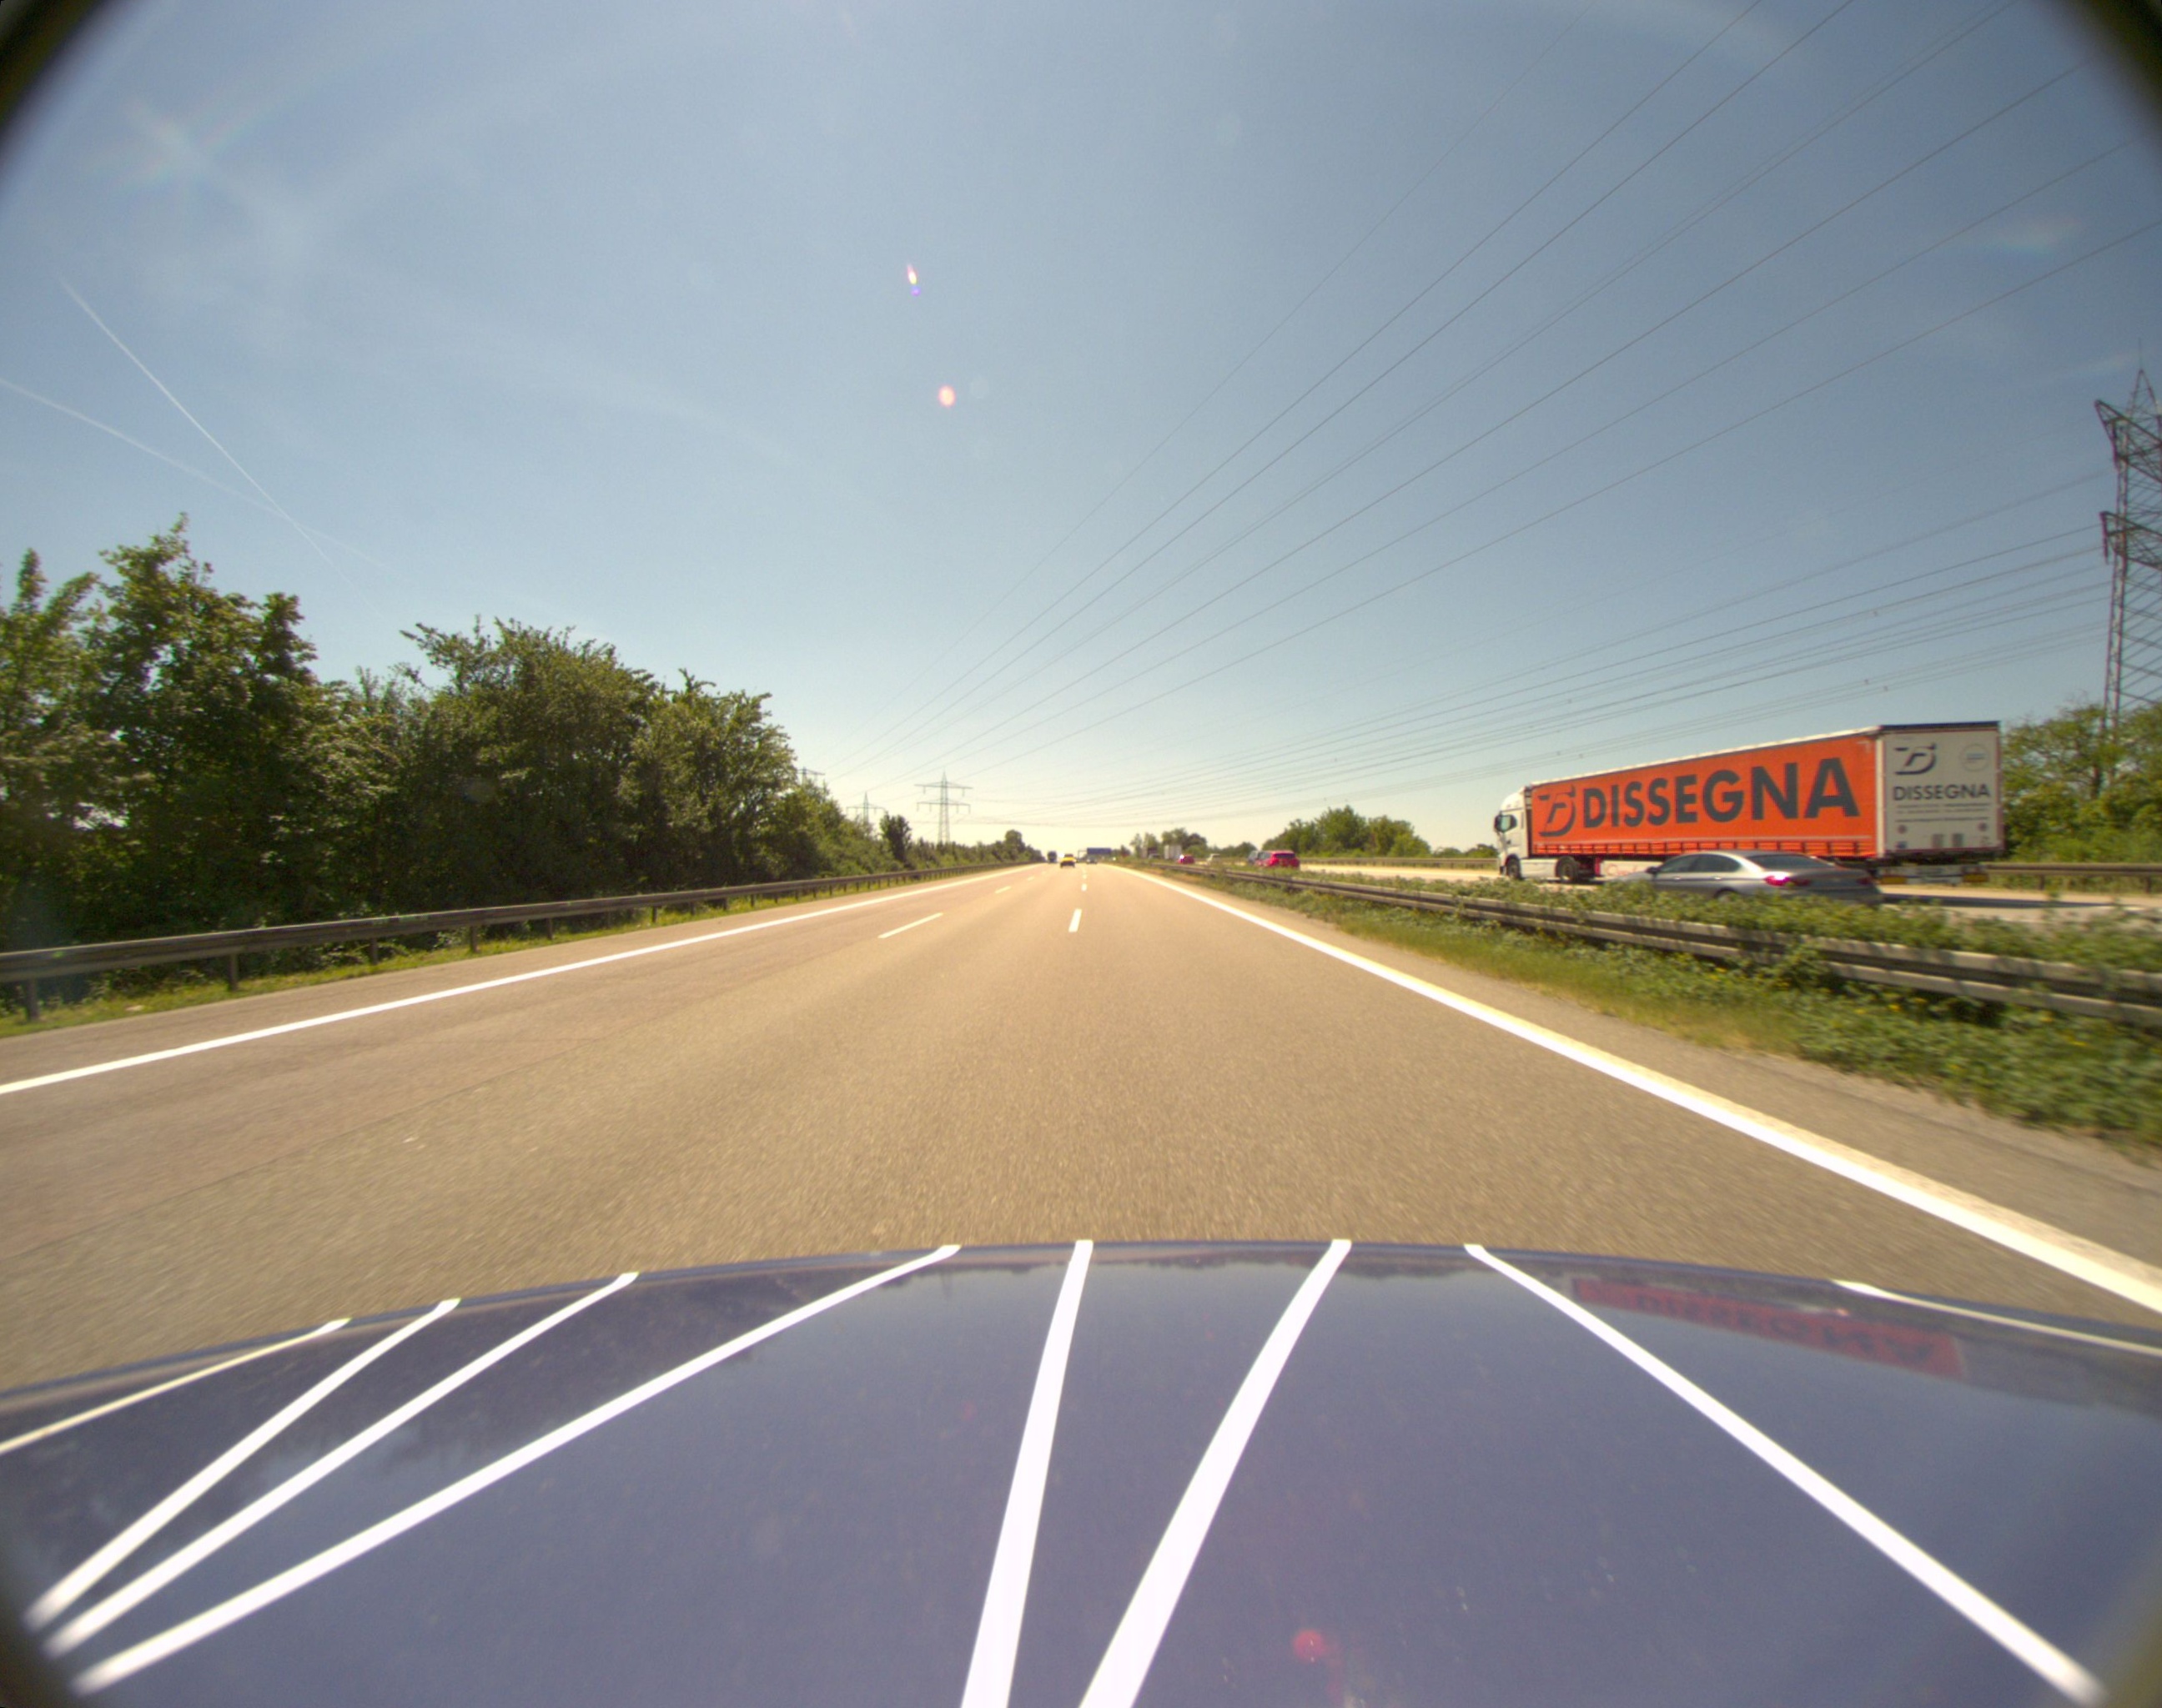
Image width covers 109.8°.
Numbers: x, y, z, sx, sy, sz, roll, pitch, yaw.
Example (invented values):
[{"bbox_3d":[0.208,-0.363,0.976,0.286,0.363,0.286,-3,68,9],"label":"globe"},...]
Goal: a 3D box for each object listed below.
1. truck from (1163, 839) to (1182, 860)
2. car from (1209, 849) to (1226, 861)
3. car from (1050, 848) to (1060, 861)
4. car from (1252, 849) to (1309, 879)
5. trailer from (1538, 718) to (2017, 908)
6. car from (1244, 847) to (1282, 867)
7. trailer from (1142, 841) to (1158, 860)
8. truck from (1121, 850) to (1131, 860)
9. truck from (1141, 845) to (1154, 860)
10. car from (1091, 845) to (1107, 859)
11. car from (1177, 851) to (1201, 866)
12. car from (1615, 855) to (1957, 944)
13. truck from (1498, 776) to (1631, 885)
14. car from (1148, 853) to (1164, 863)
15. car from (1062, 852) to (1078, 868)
[{"bbox_3d":[18.101,-0.837,151.284,2.460,3.952,9.671,1,-1,-1],"label":"truck"},{"bbox_3d":[19.617,0.136,109.095,1.670,1.523,4.279,-1,0,0],"label":"car"},{"bbox_3d":[-7.765,0.207,227.651,2.687,3.723,6.270,0,-1,-2],"label":"car"},{"bbox_3d":[11.216,0.541,43.062,1.999,1.540,4.447,-1,0,0],"label":"car"},{"bbox_3d":[19.077,-0.942,23.145,2.512,4.019,13.586,-2,1,2],"label":"trailer"},{"bbox_3d":[15.489,0.244,64.869,1.999,1.663,4.929,-1,0,0],"label":"car"},{"bbox_3d":[18.200,-0.816,200.567,2.655,4.524,13.865,-2,-1,-1],"label":"trailer"},{"bbox_3d":[15.680,0.383,266.471,2.777,3.505,8.533,-2,-1,-1],"label":"truck"},{"bbox_3d":[18.133,-0.406,207.595,2.655,3.959,5.992,-2,-1,-1],"label":"truck"},{"bbox_3d":[3.308,-0.314,142.587,2.687,2.509,5.967,0,-1,-2],"label":"car"},{"bbox_3d":[11.525,0.455,81.414,1.908,1.471,3.960,-1,0,0],"label":"car"},{"bbox_3d":[12.504,0.730,14.057,1.998,1.319,4.773,-2,-1,2],"label":"car"},{"bbox_3d":[19.367,-0.890,30.739,2.488,3.996,4.602,-2,1,2],"label":"truck"},{"bbox_3d":[11.675,0.627,118.022,1.999,1.427,4.411,-2,-1,0],"label":"car"},{"bbox_3d":[-1.471,0.821,98.960,1.956,2.001,5.432,0,-1,-2],"label":"car"}]
